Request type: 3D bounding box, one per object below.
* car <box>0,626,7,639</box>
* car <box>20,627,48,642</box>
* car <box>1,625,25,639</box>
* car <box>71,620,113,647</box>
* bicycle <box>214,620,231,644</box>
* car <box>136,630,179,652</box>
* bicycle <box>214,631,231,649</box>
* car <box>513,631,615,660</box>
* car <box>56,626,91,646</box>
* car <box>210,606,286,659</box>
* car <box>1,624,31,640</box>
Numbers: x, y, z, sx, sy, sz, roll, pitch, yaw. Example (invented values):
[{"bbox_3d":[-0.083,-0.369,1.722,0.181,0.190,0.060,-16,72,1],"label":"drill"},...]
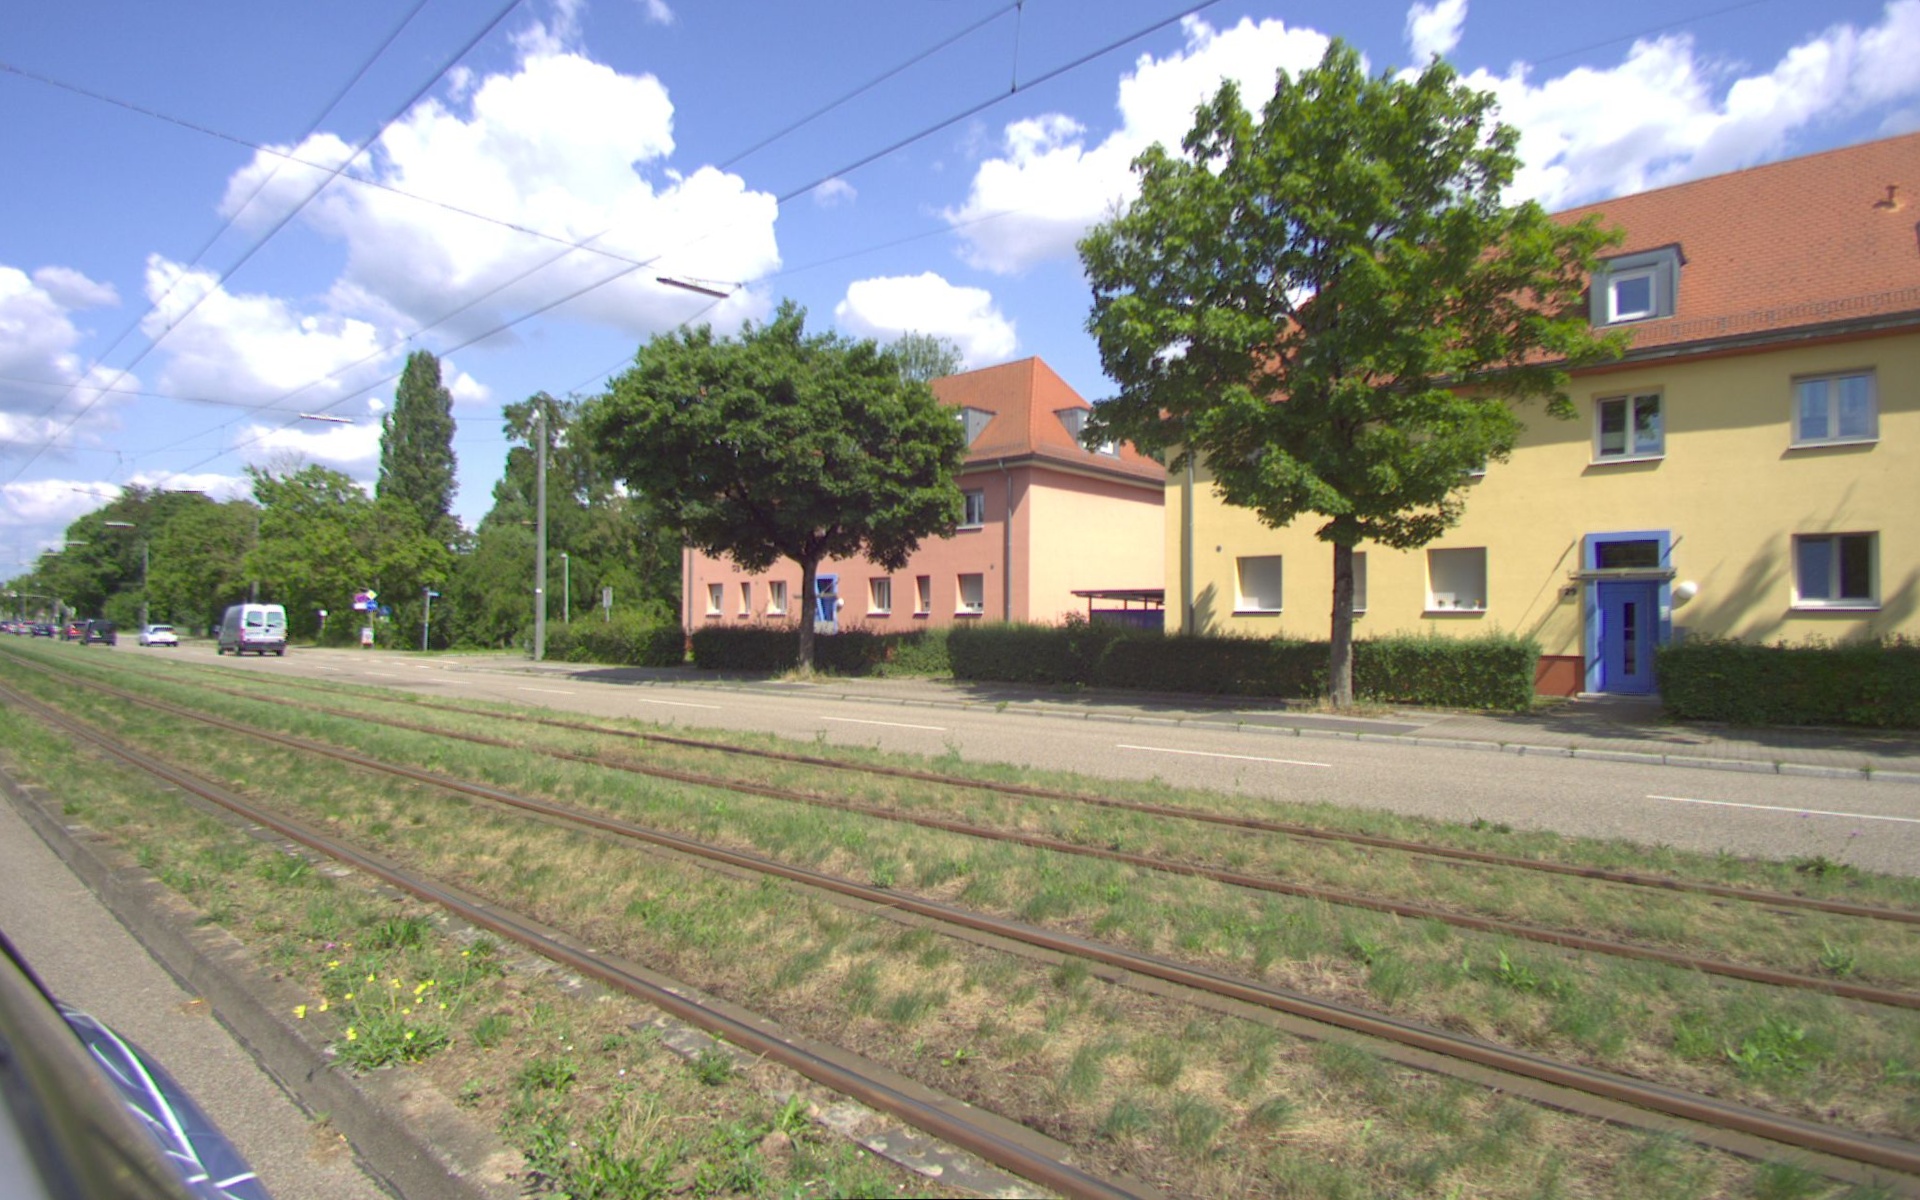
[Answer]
[{"bbox_3d":[-124.969,4.211,131.059,4.278,1.664,2.092,-2,-2,44],"label":"car"},{"bbox_3d":[-87.727,3.231,95.884,4.278,1.405,1.708,-2,-2,44],"label":"car"},{"bbox_3d":[-112.391,3.747,120.090,4.278,1.664,1.895,-2,-2,44],"label":"car"},{"bbox_3d":[-58.916,2.263,68.668,4.227,1.760,1.667,-2,-2,43],"label":"car"},{"bbox_3d":[-52.171,2.254,71.607,0.952,1.697,0.790,-2,-2,43],"label":"bicycle"},{"bbox_3d":[-55.573,2.824,70.068,4.276,1.442,1.667,-1,-2,43],"label":"car"},{"bbox_3d":[-52.196,2.829,71.600,1.957,1.197,0.634,-2,-2,44],"label":"bicycle"},{"bbox_3d":[-20.098,2.271,51.440,4.401,1.416,2.003,1,-2,-40],"label":"car"},{"bbox_3d":[-73.578,2.962,83.970,4.275,1.591,1.709,-1,-2,42],"label":"car"},{"bbox_3d":[-35.698,1.638,50.695,5.779,2.455,2.009,-2,-4,44],"label":"car"},{"bbox_3d":[-101.094,3.407,108.385,4.278,1.664,2.092,-2,-2,44],"label":"car"}]
